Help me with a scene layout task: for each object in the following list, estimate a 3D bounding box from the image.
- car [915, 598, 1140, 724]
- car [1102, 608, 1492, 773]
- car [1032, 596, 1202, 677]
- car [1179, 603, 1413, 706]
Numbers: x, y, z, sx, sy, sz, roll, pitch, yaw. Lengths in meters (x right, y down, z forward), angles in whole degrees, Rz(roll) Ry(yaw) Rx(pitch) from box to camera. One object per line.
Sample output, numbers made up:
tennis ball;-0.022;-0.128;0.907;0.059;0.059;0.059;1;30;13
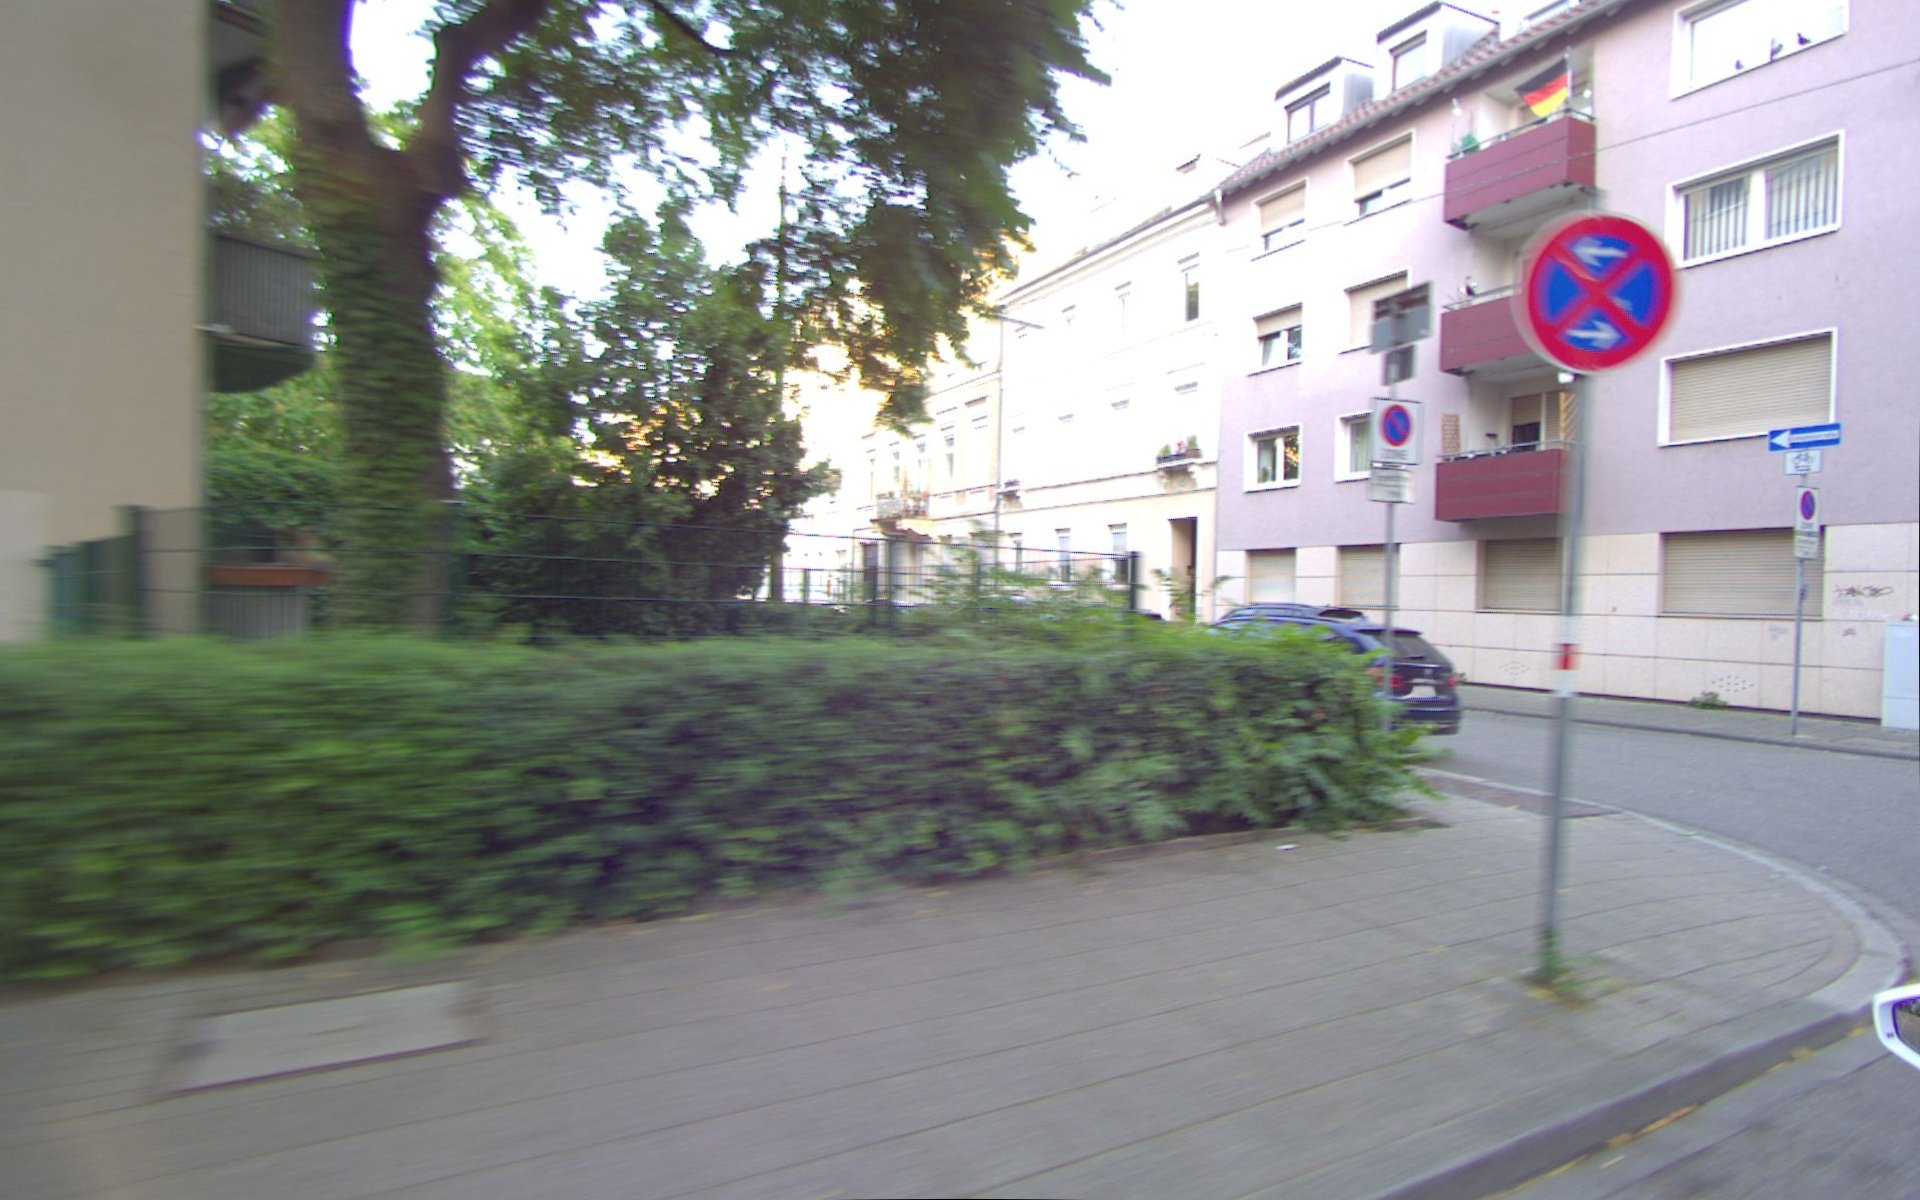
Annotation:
car;0.941;0.873;16.291;1.706;1.727;4.096;2;0;-28
car;3.742;0.914;11.983;1.707;1.501;4.349;2;0;-31
car;3.547;0.796;23.355;1.800;1.656;3.942;4;-1;-30
car;6.168;0.955;18.867;1.800;1.656;3.942;4;-1;-30
